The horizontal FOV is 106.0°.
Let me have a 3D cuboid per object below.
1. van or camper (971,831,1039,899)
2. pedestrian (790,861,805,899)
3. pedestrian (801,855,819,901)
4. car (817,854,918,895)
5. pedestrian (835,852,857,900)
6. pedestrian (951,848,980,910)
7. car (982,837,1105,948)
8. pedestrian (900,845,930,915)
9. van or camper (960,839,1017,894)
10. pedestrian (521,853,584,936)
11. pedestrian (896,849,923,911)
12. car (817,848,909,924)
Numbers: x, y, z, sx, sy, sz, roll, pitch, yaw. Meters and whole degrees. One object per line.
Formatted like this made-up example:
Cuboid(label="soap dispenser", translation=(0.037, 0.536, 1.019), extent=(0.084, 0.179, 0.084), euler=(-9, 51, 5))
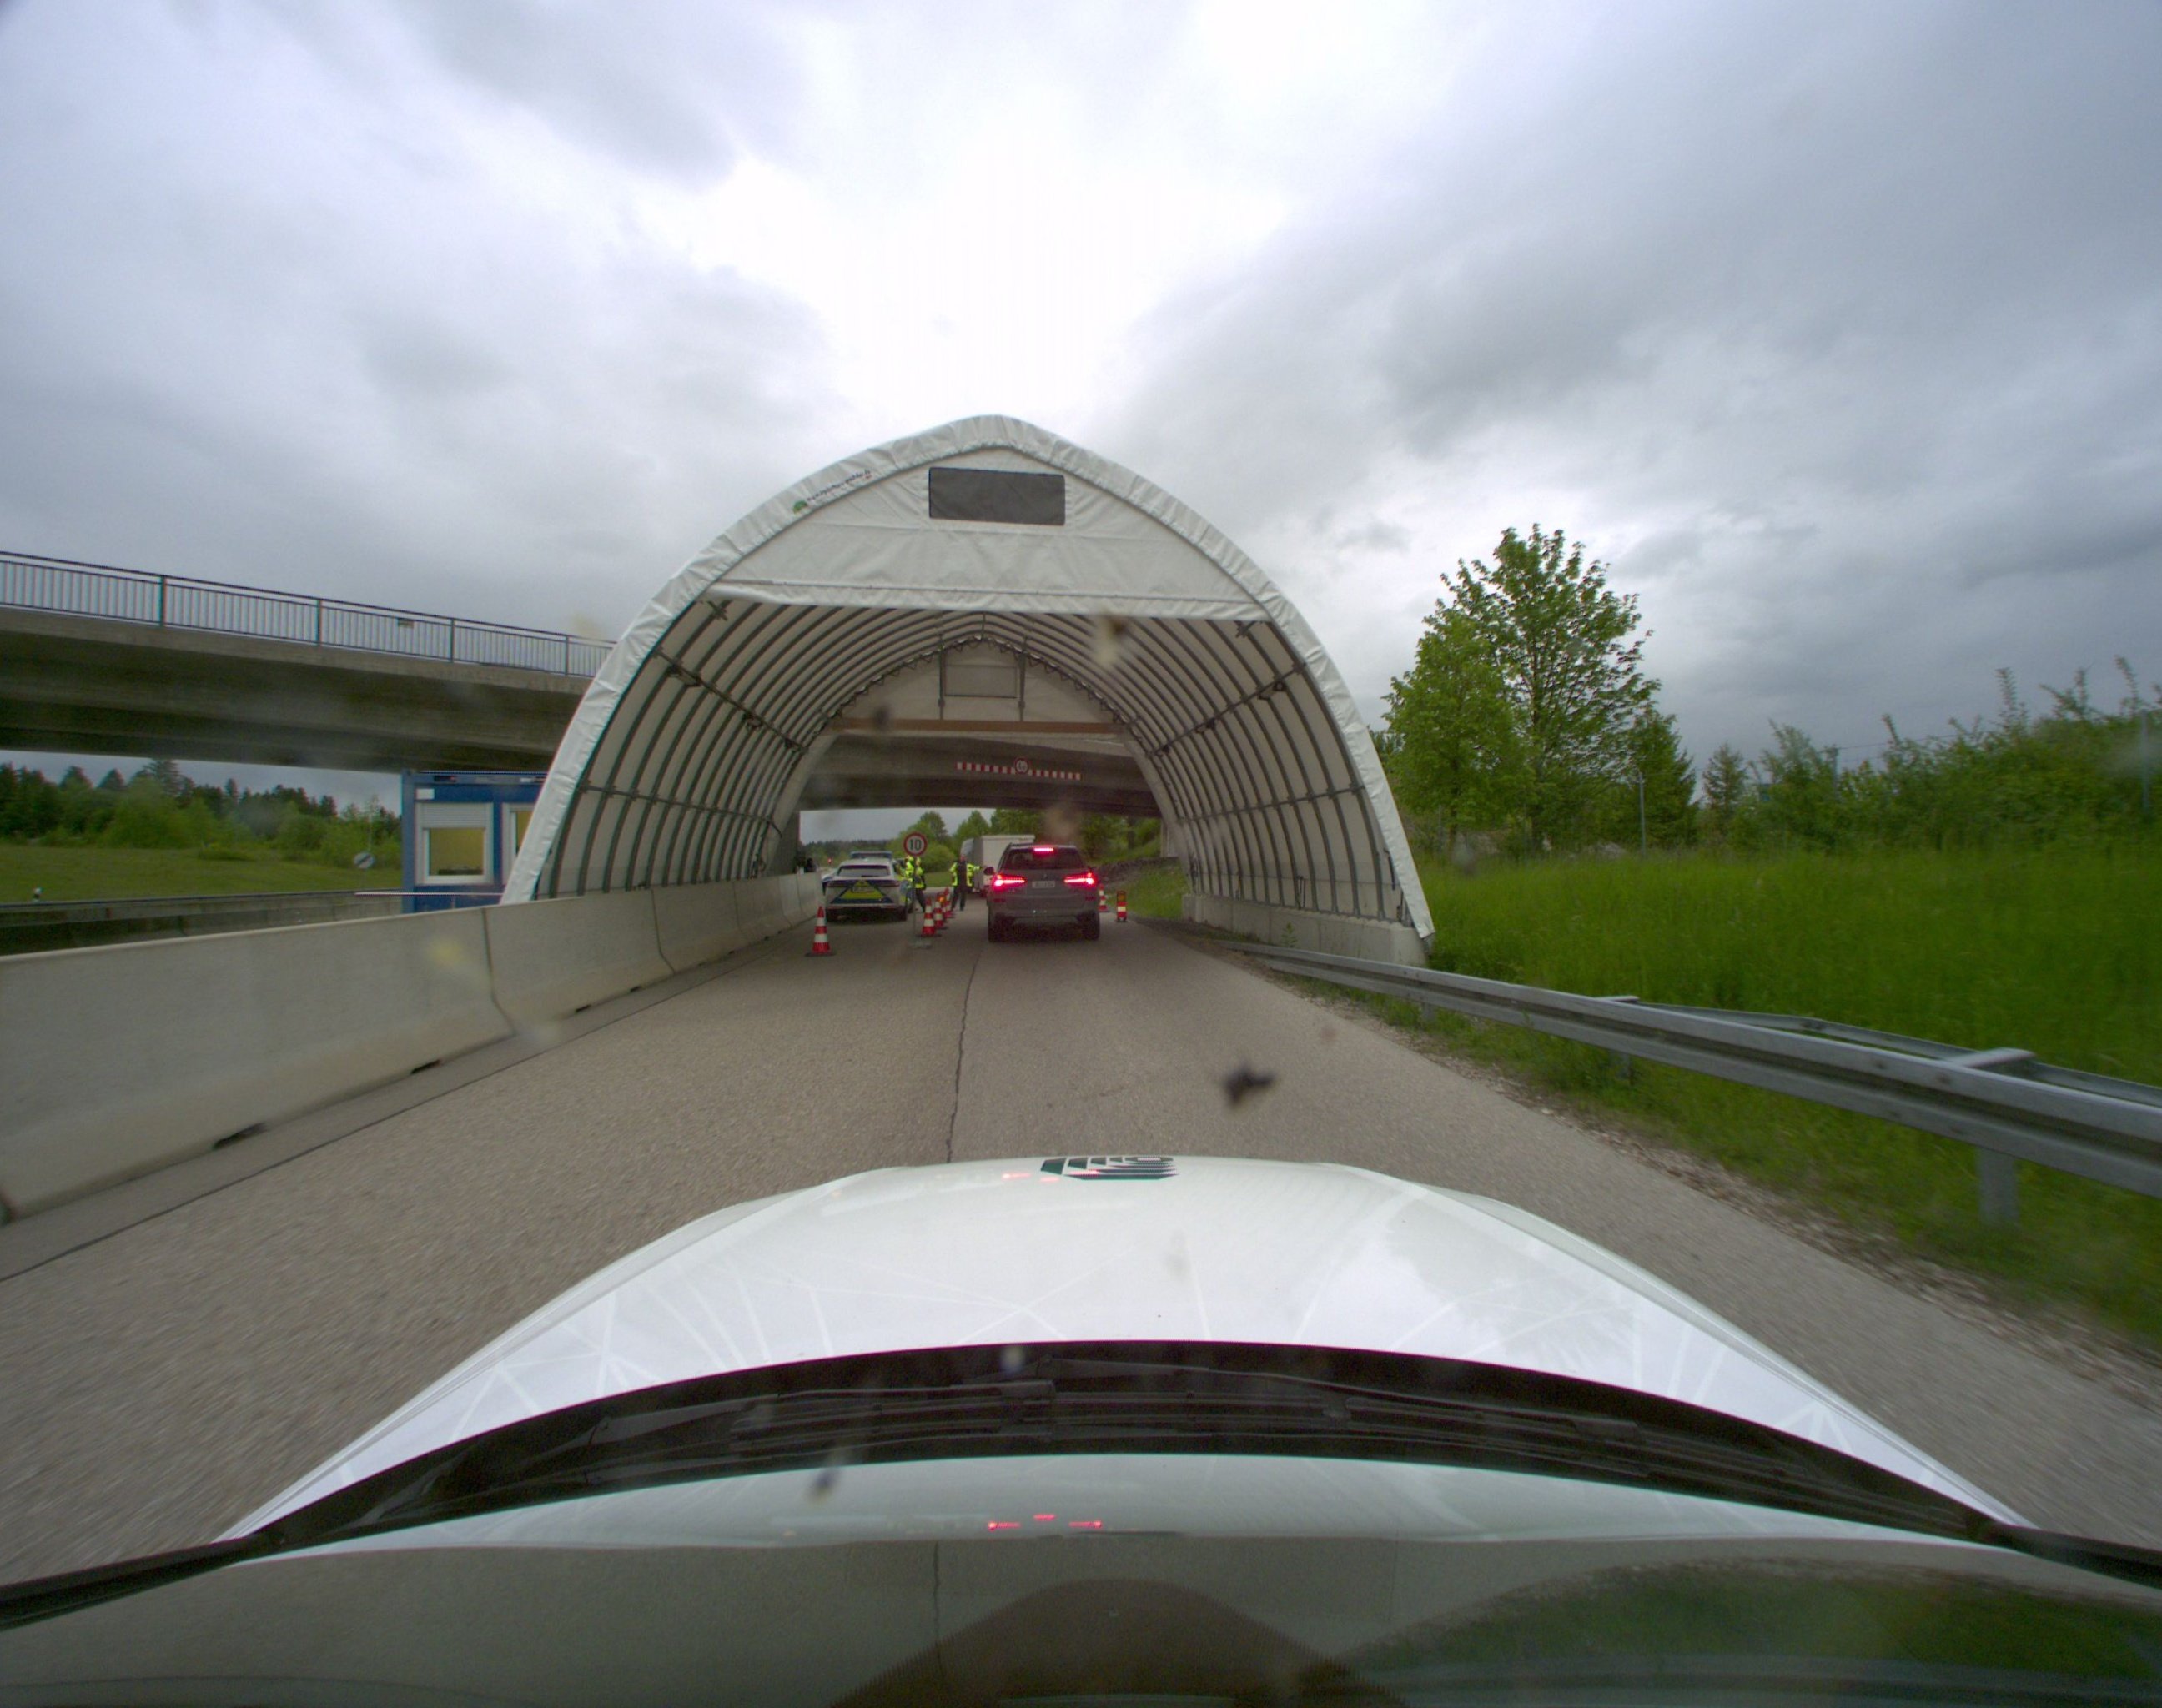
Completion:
Cuboid(label="van or camper", translation=(-3.383, 0.457, 34.805), extent=(2.231, 2.552, 6.585), euler=(-2, 0, -11))
Cuboid(label="pedestrian", translation=(-11.667, 1.049, 33.501), extent=(0.503, 1.546, 0.460), euler=(-1, -1, -17))
Cuboid(label="pedestrian", translation=(-11.882, 1.052, 35.745), extent=(0.625, 2.014, 0.653), euler=(-1, -1, -13))
Cuboid(label="car", translation=(-11.260, 1.065, 43.147), extent=(4.775, 2.014, 1.846), euler=(-2, -1, 10))
Cuboid(label="pedestrian", translation=(-10.033, 0.928, 34.777), extent=(0.698, 2.014, 0.693), euler=(-2, -1, 3))
Cuboid(label="pedestrian", translation=(-3.374, 0.718, 23.704), extent=(0.779, 1.722, 0.754), euler=(-2, -1, -9))
Cuboid(label="car", translation=(-0.791, 0.644, 15.524), extent=(1.991, 1.765, 3.992), euler=(-2, 0, -5))
Cuboid(label="pedestrian", translation=(-4.631, 0.715, 22.737), extent=(0.749, 1.919, 0.760), euler=(-2, -1, -11))
Cuboid(label="van or camper", translation=(-4.728, 0.593, 40.728), extent=(2.107, 2.519, 5.524), euler=(-1, 0, -14))
Cuboid(label="pedestrian", translation=(-9.008, 0.675, 13.899), extent=(0.606, 1.373, 0.629), euler=(-2, -1, 12))
Cuboid(label="pedestrian", translation=(-5.016, 0.752, 23.823), extent=(0.607, 1.754, 0.665), euler=(-2, -1, -2))
Cuboid(label="car", translation=(-5.372, 0.740, 20.537), extent=(1.878, 1.646, 3.985), euler=(-2, 0, -11))
